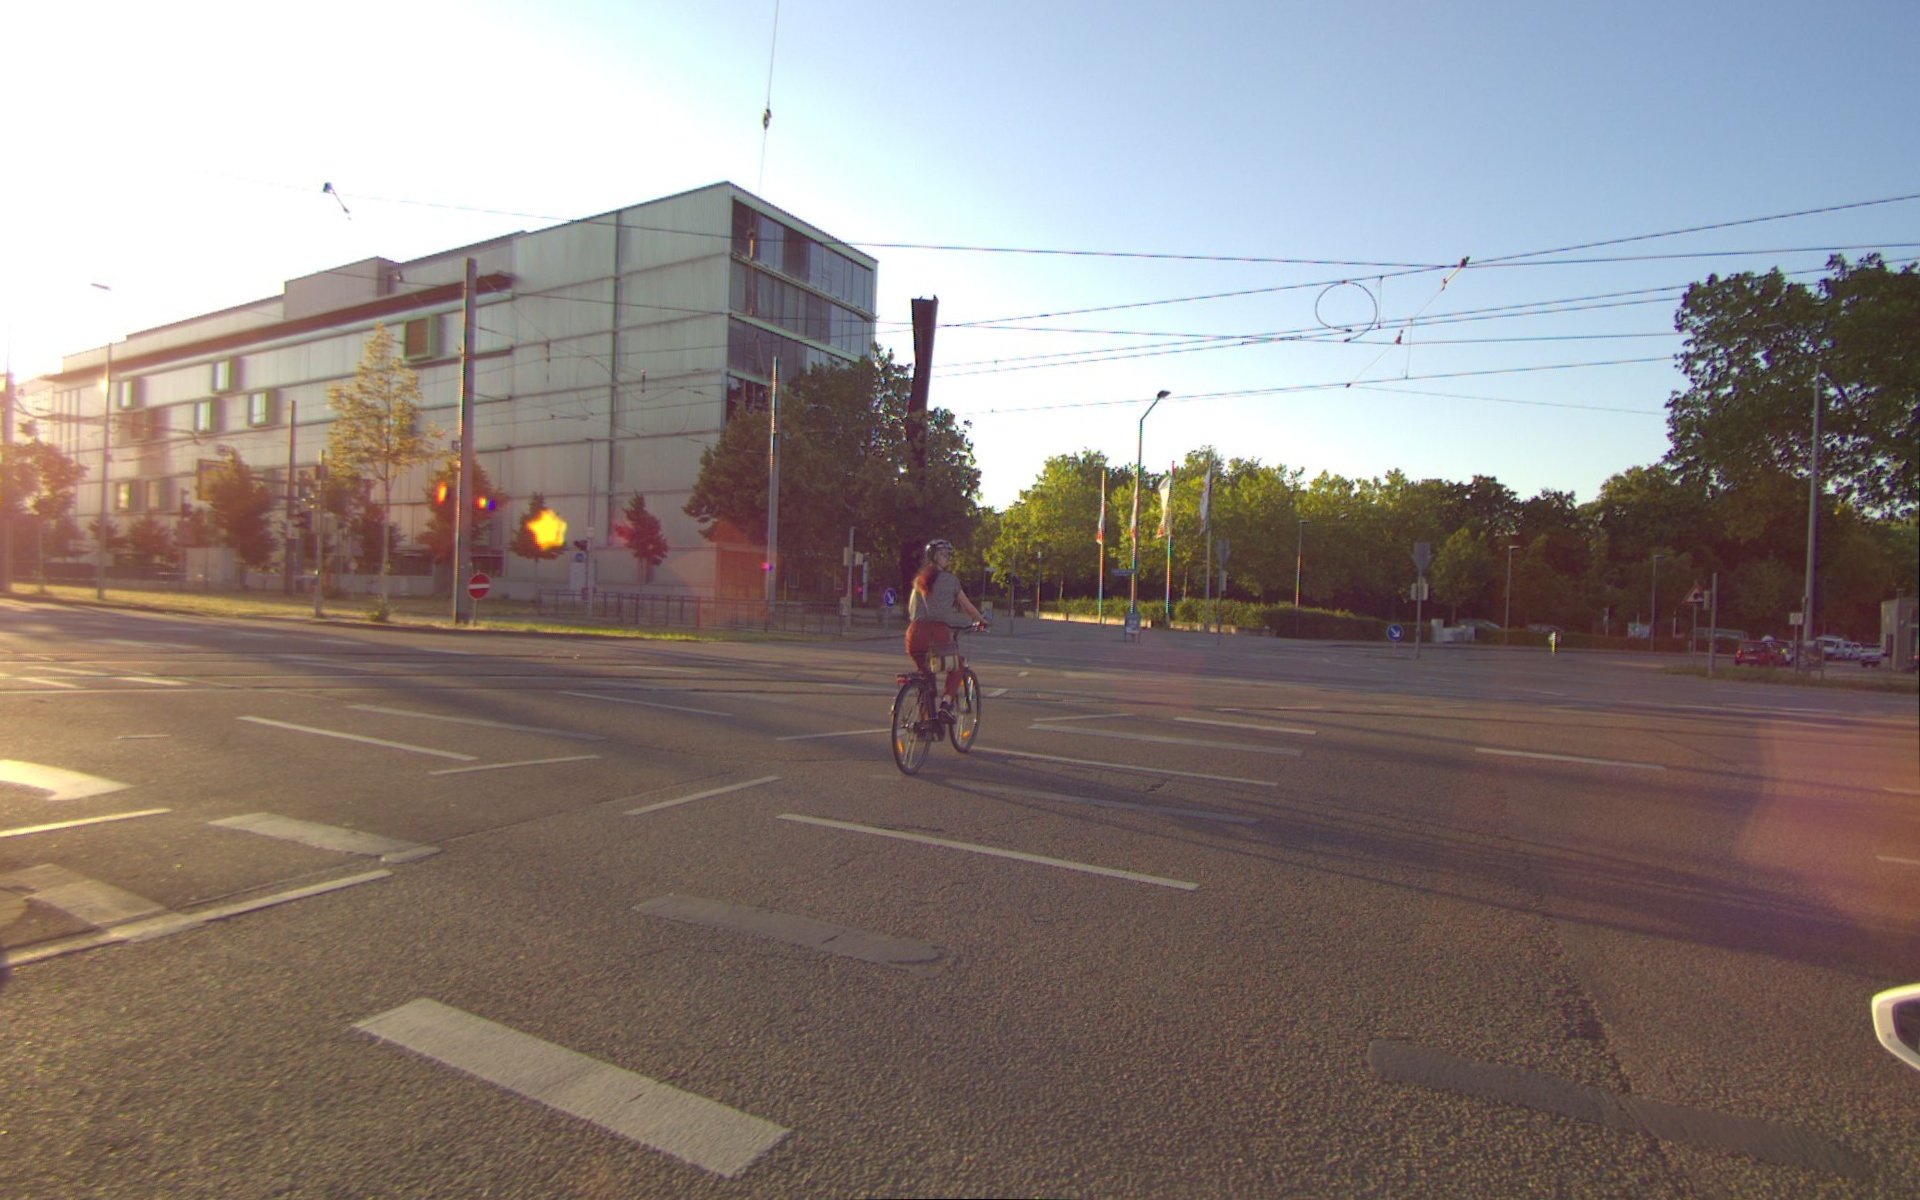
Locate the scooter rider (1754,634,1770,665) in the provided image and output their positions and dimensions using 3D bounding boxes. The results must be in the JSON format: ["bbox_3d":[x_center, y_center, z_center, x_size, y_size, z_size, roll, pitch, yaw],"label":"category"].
[{"bbox_3d":[50.452,3.104,63.192,0.692,1.879,0.667,3,-1,33],"label":"scooter rider"}]

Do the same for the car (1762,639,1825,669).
[{"bbox_3d":[48.708,3.157,58.663,3.964,1.595,1.979,2,0,-37],"label":"car"}]

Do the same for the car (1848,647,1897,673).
[{"bbox_3d":[62.055,4.081,68.311,3.967,1.624,1.899,2,0,-39],"label":"car"}]

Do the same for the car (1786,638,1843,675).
[{"bbox_3d":[51.949,3.420,61.067,3.967,2.074,1.899,2,0,-39],"label":"car"}]

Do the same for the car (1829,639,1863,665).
[{"bbox_3d":[74.714,4.379,84.724,1.970,2.040,3.981,2,0,40],"label":"car"}]

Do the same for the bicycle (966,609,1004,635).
[{"bbox_3d":[1.189,1.036,47.133,0.689,1.151,2.388,3,0,30],"label":"bicycle"}]

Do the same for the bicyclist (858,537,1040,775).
[{"bbox_3d":[-0.075,0.404,8.046,1.017,1.740,0.993,2,0,33],"label":"bicyclist"}]

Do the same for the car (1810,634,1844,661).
[{"bbox_3d":[70.707,3.822,81.950,1.970,2.040,3.981,2,0,40],"label":"car"}]

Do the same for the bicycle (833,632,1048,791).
[{"bbox_3d":[-0.077,0.812,8.096,0.625,1.082,2.117,2,0,33],"label":"bicycle"}]

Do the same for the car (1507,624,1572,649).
[{"bbox_3d":[43.020,2.703,74.581,3.934,1.581,1.994,2,0,35],"label":"car"}]

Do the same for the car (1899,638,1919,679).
[{"bbox_3d":[47.149,2.851,47.085,4.323,1.859,1.941,2,0,39],"label":"car"}]

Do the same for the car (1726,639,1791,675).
[{"bbox_3d":[45.100,3.200,56.700,3.837,1.899,1.855,2,0,-36],"label":"car"}]
